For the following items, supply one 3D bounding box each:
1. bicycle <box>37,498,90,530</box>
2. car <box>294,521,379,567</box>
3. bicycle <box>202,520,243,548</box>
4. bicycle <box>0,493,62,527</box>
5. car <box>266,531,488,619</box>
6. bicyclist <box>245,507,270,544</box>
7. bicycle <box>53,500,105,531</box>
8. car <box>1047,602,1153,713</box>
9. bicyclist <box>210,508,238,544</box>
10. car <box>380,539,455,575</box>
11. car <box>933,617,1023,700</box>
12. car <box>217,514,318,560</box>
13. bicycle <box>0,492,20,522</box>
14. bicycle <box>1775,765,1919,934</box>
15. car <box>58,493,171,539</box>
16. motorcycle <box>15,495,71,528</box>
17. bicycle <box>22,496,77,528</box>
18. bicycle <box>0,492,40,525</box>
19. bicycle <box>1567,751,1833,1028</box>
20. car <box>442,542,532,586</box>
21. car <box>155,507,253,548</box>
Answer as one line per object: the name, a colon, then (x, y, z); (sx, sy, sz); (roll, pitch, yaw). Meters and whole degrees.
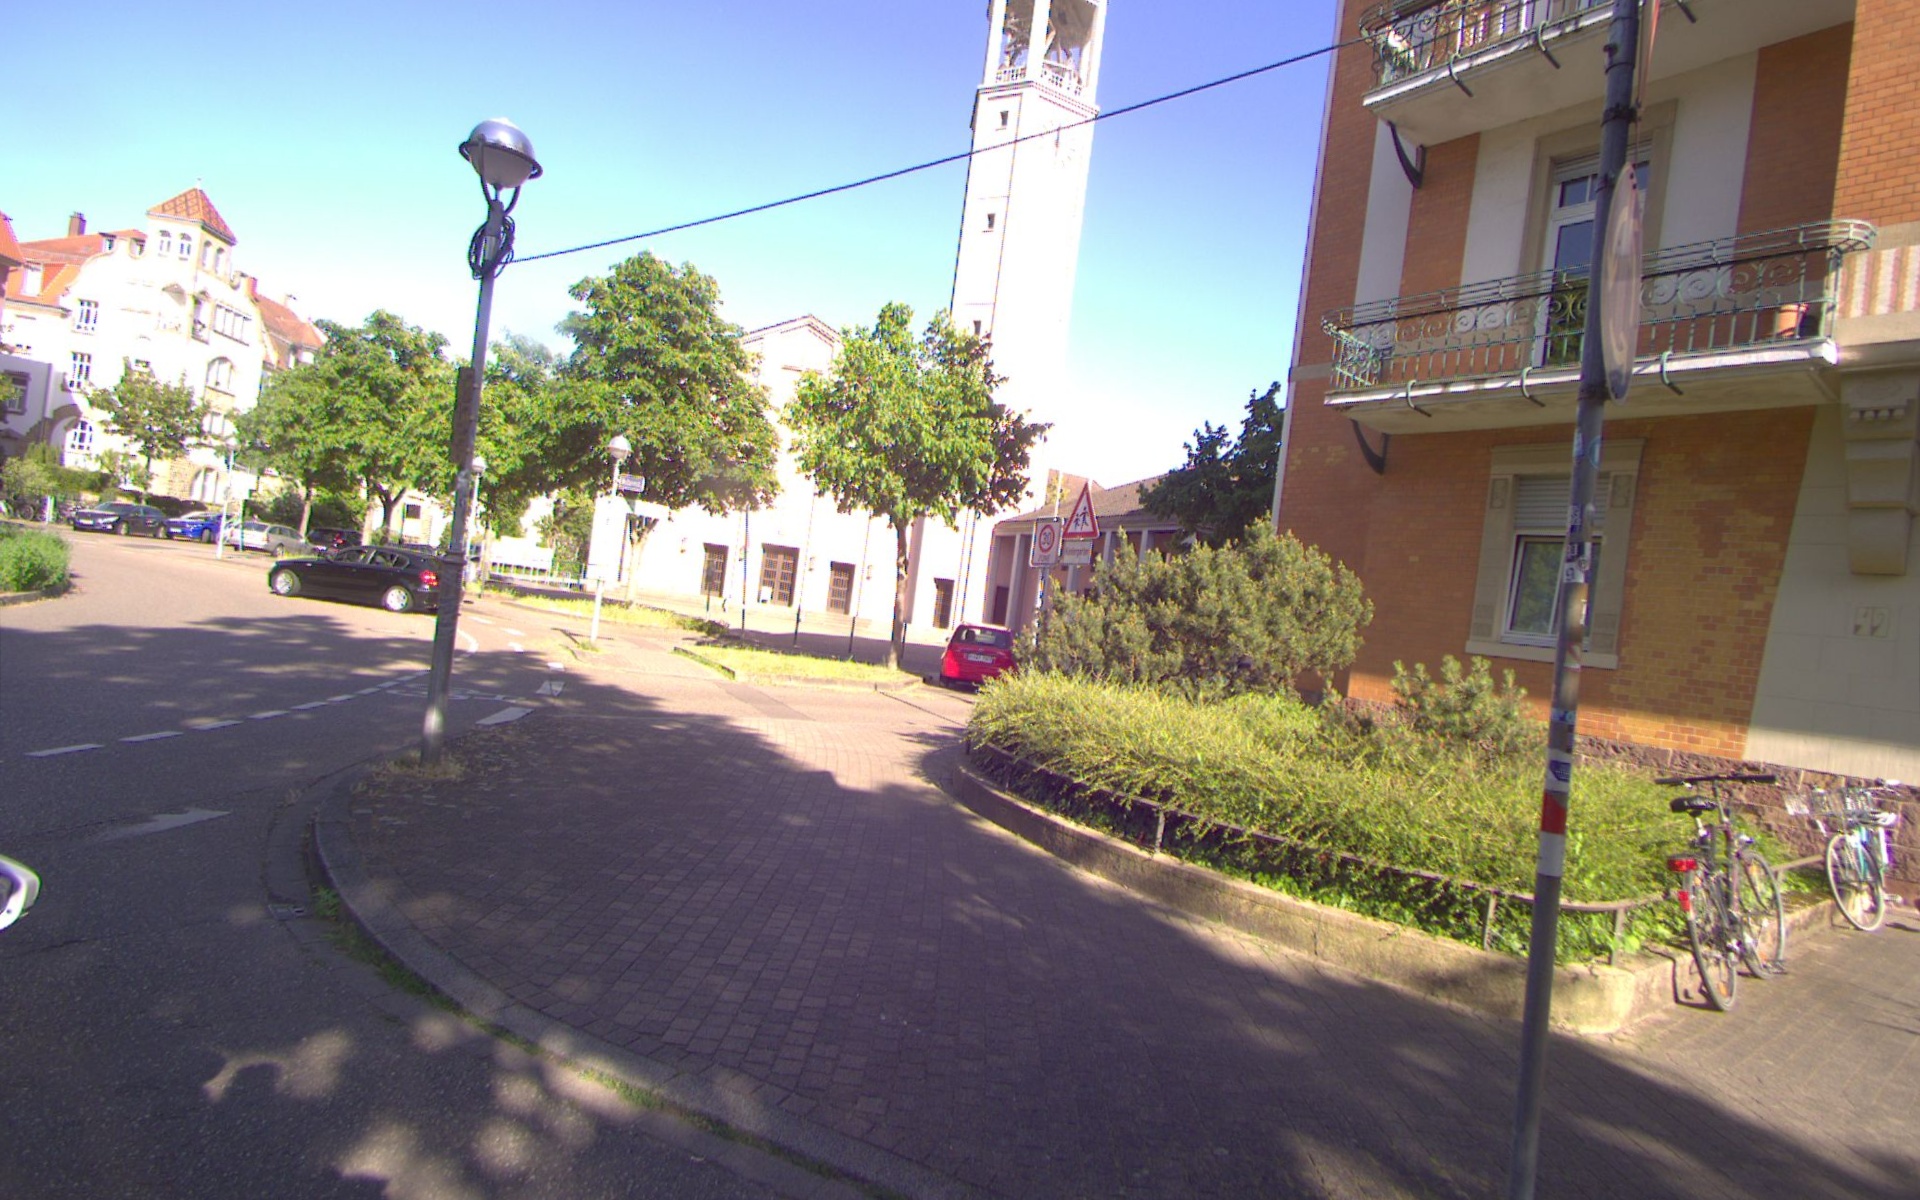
bicycle: (-40.805, -3.915, 45.795); (1.698, 1.120, 0.500); (10, 0, -8)
car: (-30.085, -2.653, 48.700); (1.780, 1.748, 4.332); (8, -1, -9)
bicycle: (-35.440, -3.174, 48.389); (0.585, 1.121, 1.862); (7, -1, -4)
bicycle: (-40.472, -3.923, 43.828); (1.806, 1.120, 0.498); (10, 0, -21)
car: (-13.355, -0.537, 23.200); (3.925, 1.436, 1.871); (8, 0, 4)
bicyclist: (-36.116, -3.829, 51.725); (0.634, 1.735, 0.723); (7, 0, -4)
bicycle: (-40.889, -3.917, 46.687); (1.698, 1.120, 0.515); (10, 0, -8)
car: (3.161, 1.271, 23.324); (1.956, 2.070, 4.709); (7, -1, 6)
bicyclist: (-35.395, -3.550, 48.379); (0.585, 1.600, 0.804); (7, 0, -4)
car: (-30.469, -2.393, 56.692); (1.777, 1.491, 4.339); (8, -1, -1)
car: (0.474, 1.230, 22.164); (1.638, 1.452, 3.698); (8, -1, 4)
car: (-29.899, -2.674, 43.610); (1.780, 1.432, 4.332); (9, -1, -9)
bicycle: (-40.461, -3.979, 42.011); (1.697, 1.128, 0.545); (10, 0, -5)
bicycle: (6.846, 1.852, 7.684); (1.660, 1.085, 0.495); (7, 0, -37)
car: (-37.543, -3.691, 44.820); (1.779, 1.502, 4.332); (5, -1, -10)
motorcycle: (-40.526, -3.900, 44.488); (1.700, 1.120, 0.500); (10, 0, -12)
bicycle: (-40.717, -3.925, 45.017); (1.700, 1.120, 0.500); (10, 0, -12)
bicycle: (-40.504, -3.946, 42.955); (1.697, 1.128, 0.545); (10, 0, -5)
bicycle: (4.055, 1.447, 5.445); (1.930, 1.135, 0.680); (7, 0, -42)
car: (-30.431, -2.278, 64.829); (4.700, 2.024, 1.807); (9, -1, -9)
car: (-37.893, -3.596, 50.580); (1.777, 1.581, 4.396); (5, -1, -5)
